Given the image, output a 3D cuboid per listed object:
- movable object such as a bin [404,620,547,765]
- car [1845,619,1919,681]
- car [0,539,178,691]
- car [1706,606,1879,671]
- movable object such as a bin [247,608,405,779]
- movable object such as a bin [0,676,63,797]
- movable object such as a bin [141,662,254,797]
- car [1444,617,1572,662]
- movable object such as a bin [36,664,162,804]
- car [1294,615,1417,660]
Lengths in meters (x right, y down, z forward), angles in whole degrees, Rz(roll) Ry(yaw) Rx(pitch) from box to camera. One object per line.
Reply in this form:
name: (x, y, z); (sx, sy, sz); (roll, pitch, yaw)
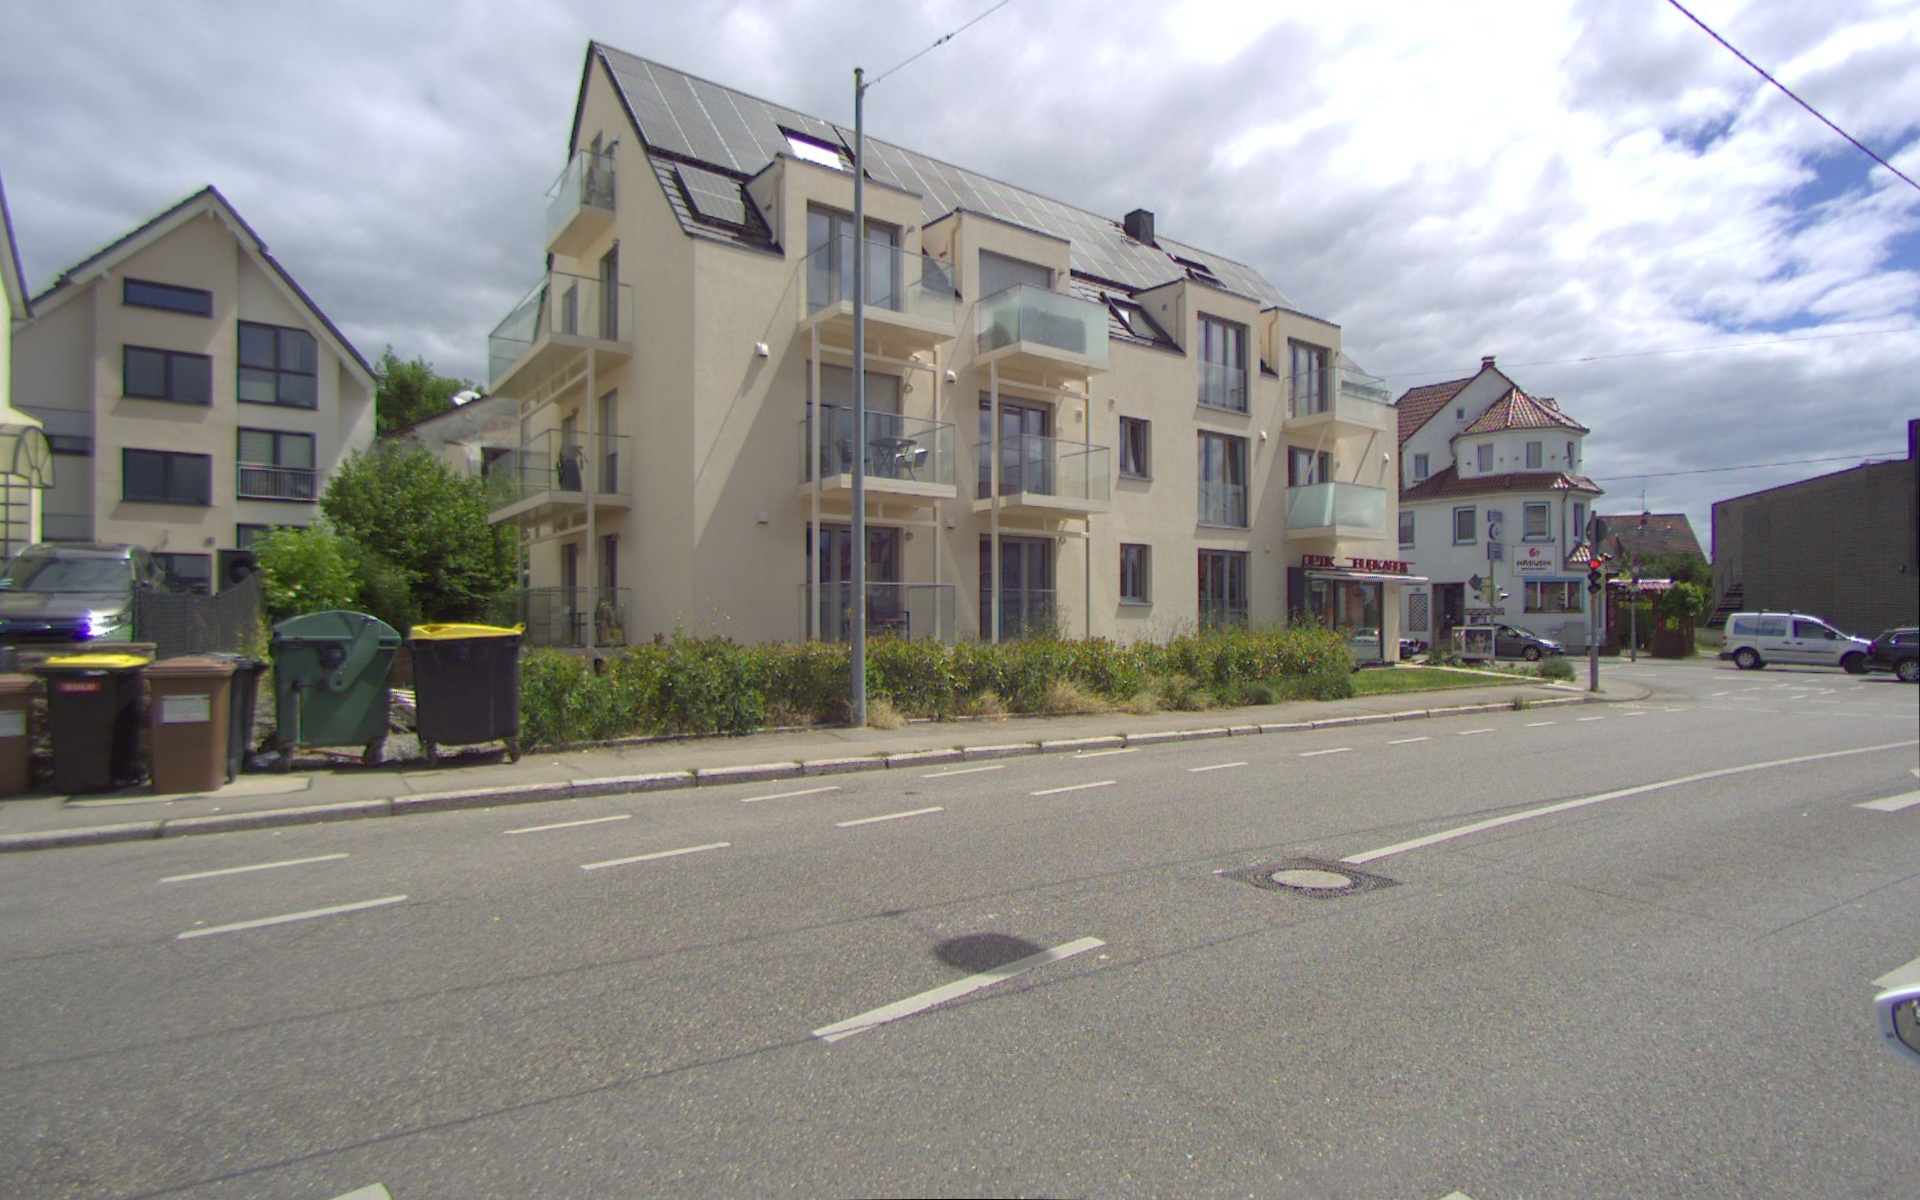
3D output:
movable object such as a bin: (-4.805, 0.865, 9.950); (1.199, 1.330, 1.061); (1, -1, -29)
car: (26.948, 1.381, 26.691); (1.982, 1.598, 4.859); (1, 0, -38)
car: (-12.488, 0.106, 14.177); (1.783, 1.729, 3.966); (1, 4, -31)
car: (26.787, 1.182, 32.391); (1.985, 1.873, 4.023); (1, 0, -42)
movable object such as a bin: (-6.034, 0.842, 9.617); (1.201, 1.501, 1.059); (1, -1, -32)
movable object such as a bin: (-7.541, 1.064, 7.890); (0.607, 0.891, 0.593); (1, -1, -30)
movable object such as a bin: (-6.241, 1.032, 8.254); (0.651, 1.020, 0.593); (1, -1, -30)
car: (21.321, 1.502, 39.178); (1.987, 1.506, 3.947); (1, 0, -44)
movable object such as a bin: (-6.912, 1.048, 8.095); (0.651, 1.037, 0.593); (1, -1, -30)
car: (15.998, 1.473, 40.800); (1.984, 1.698, 4.255); (1, -1, -41)
